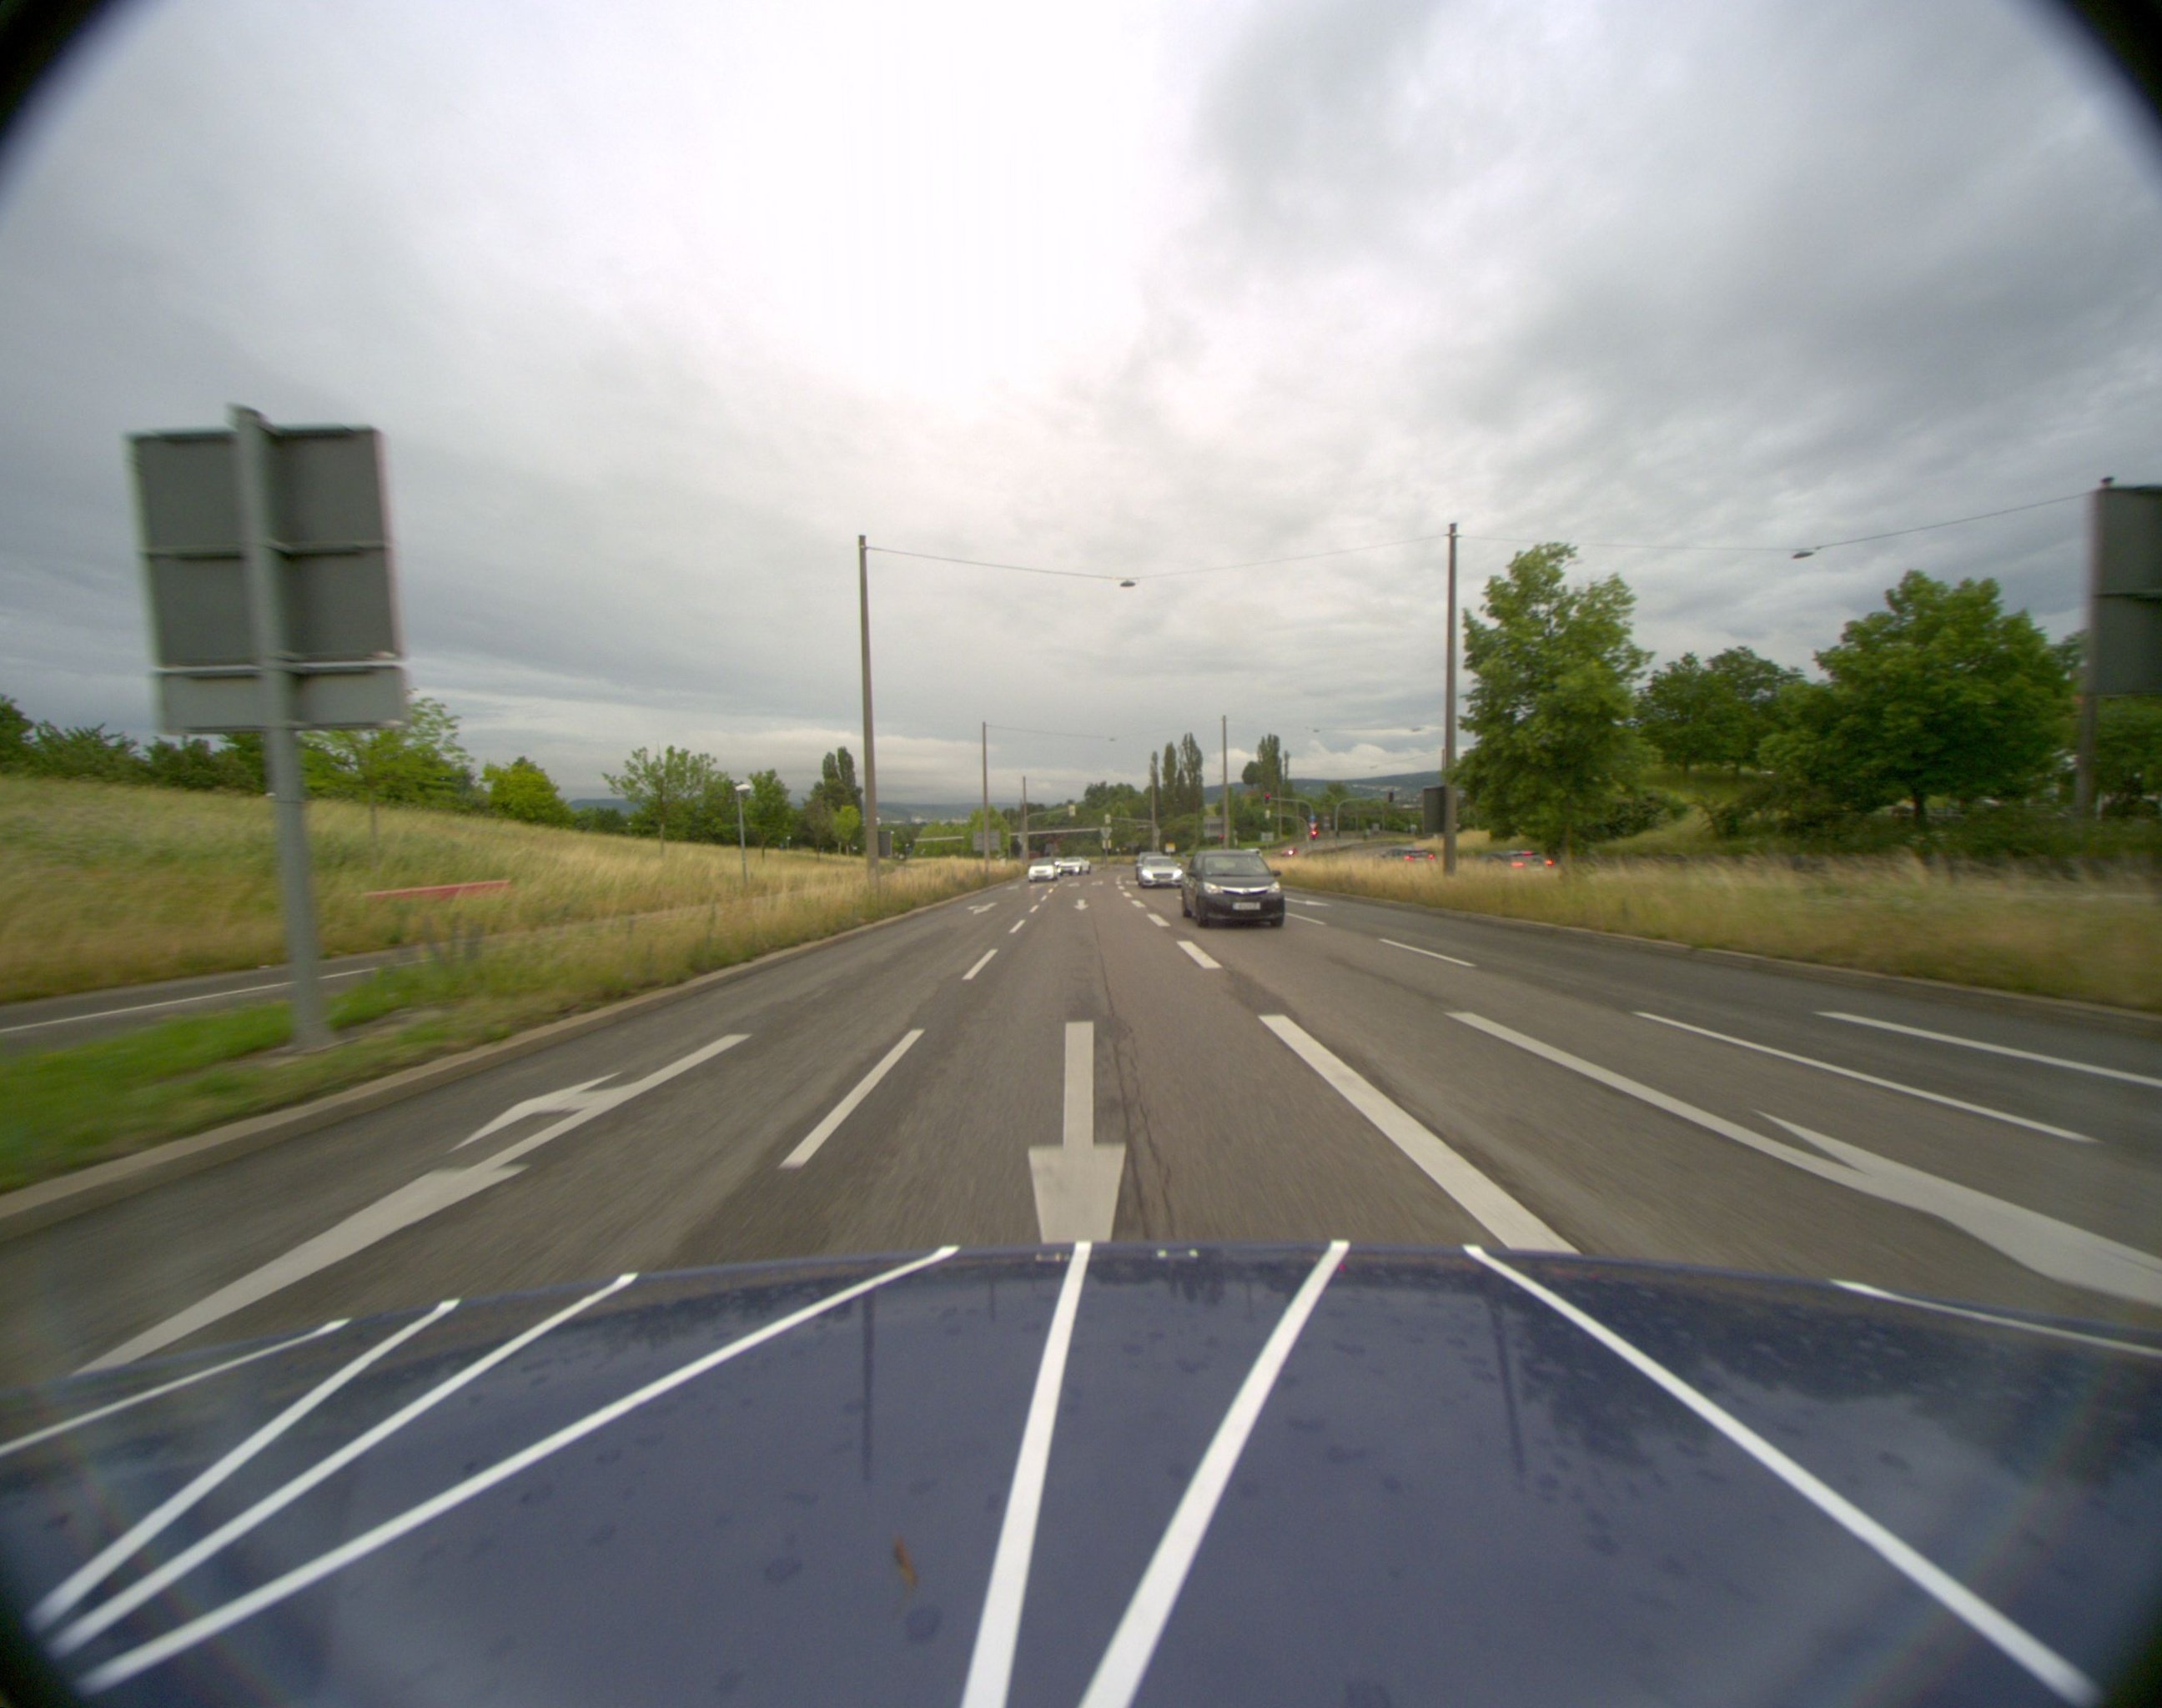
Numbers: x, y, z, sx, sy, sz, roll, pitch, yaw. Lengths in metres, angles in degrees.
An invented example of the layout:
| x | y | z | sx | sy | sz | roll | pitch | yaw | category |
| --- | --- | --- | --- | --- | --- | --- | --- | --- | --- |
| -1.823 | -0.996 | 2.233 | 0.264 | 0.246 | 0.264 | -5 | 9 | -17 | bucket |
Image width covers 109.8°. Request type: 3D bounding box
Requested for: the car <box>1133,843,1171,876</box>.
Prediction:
| x | y | z | sx | sy | sz | roll | pitch | yaw | category |
| --- | --- | --- | --- | --- | --- | --- | --- | --- | --- |
| 4.014 | 0.285 | 43.458 | 1.927 | 1.725 | 4.026 | 1 | 0 | 2 | car |

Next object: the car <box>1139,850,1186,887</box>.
| x | y | z | sx | sy | sz | roll | pitch | yaw | category |
| --- | --- | --- | --- | --- | --- | --- | --- | --- | --- |
| 3.742 | 0.619 | 35.219 | 1.998 | 1.400 | 4.524 | 1 | 3 | 5 | car |

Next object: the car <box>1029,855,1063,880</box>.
| x | y | z | sx | sy | sz | roll | pitch | yaw | category |
| --- | --- | --- | --- | --- | --- | --- | --- | --- | --- |
| -2.298 | 0.852 | 50.719 | 1.725 | 1.513 | 4.228 | -1 | 0 | 5 | car |

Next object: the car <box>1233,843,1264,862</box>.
| x | y | z | sx | sy | sz | roll | pitch | yaw | category |
| --- | --- | --- | --- | --- | --- | --- | --- | --- | --- |
| 19.592 | -0.171 | 88.712 | 1.995 | 2.001 | 4.008 | -4 | -2 | 36 | car |

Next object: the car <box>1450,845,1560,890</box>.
| x | y | z | sx | sy | sz | roll | pitch | yaw | category |
| --- | --- | --- | --- | --- | --- | --- | --- | --- | --- |
| 16.840 | 0.482 | 30.403 | 1.999 | 1.630 | 4.018 | -1 | 1 | -3 | car |

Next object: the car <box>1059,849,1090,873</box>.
| x | y | z | sx | sy | sz | roll | pitch | yaw | category |
| --- | --- | --- | --- | --- | --- | --- | --- | --- | --- |
| -0.483 | 0.571 | 62.400 | 1.842 | 1.532 | 3.817 | -4 | 4 | 9 | car |

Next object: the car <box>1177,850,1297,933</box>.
| x | y | z | sx | sy | sz | roll | pitch | yaw | category |
| --- | --- | --- | --- | --- | --- | --- | --- | --- | --- |
| 3.232 | 0.700 | 16.506 | 1.800 | 1.556 | 4.042 | 0 | 1 | 0 | car |

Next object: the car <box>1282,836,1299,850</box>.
| x | y | z | sx | sy | sz | roll | pitch | yaw | category |
| --- | --- | --- | --- | --- | --- | --- | --- | --- | --- |
| 31.921 | -1.662 | 115.762 | 1.996 | 2.001 | 4.006 | -4 | -1 | 21 | car |

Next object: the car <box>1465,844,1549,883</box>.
| x | y | z | sx | sy | sz | roll | pitch | yaw | category |
| --- | --- | --- | --- | --- | --- | --- | --- | --- | --- |
| 22.676 | 0.464 | 40.640 | 1.999 | 2.002 | 3.997 | 0 | 1 | -5 | car |

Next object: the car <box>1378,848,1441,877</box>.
| x | y | z | sx | sy | sz | roll | pitch | yaw | category |
| --- | --- | --- | --- | --- | --- | --- | --- | --- | --- |
| 19.547 | 0.485 | 45.408 | 1.866 | 1.611 | 3.999 | -2 | 0 | -3 | car |

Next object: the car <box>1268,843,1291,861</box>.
| x | y | z | sx | sy | sz | roll | pitch | yaw | category |
| --- | --- | --- | --- | --- | --- | --- | --- | --- | --- |
| 22.914 | -0.217 | 87.767 | 1.996 | 2.001 | 4.006 | -4 | -1 | 21 | car |
